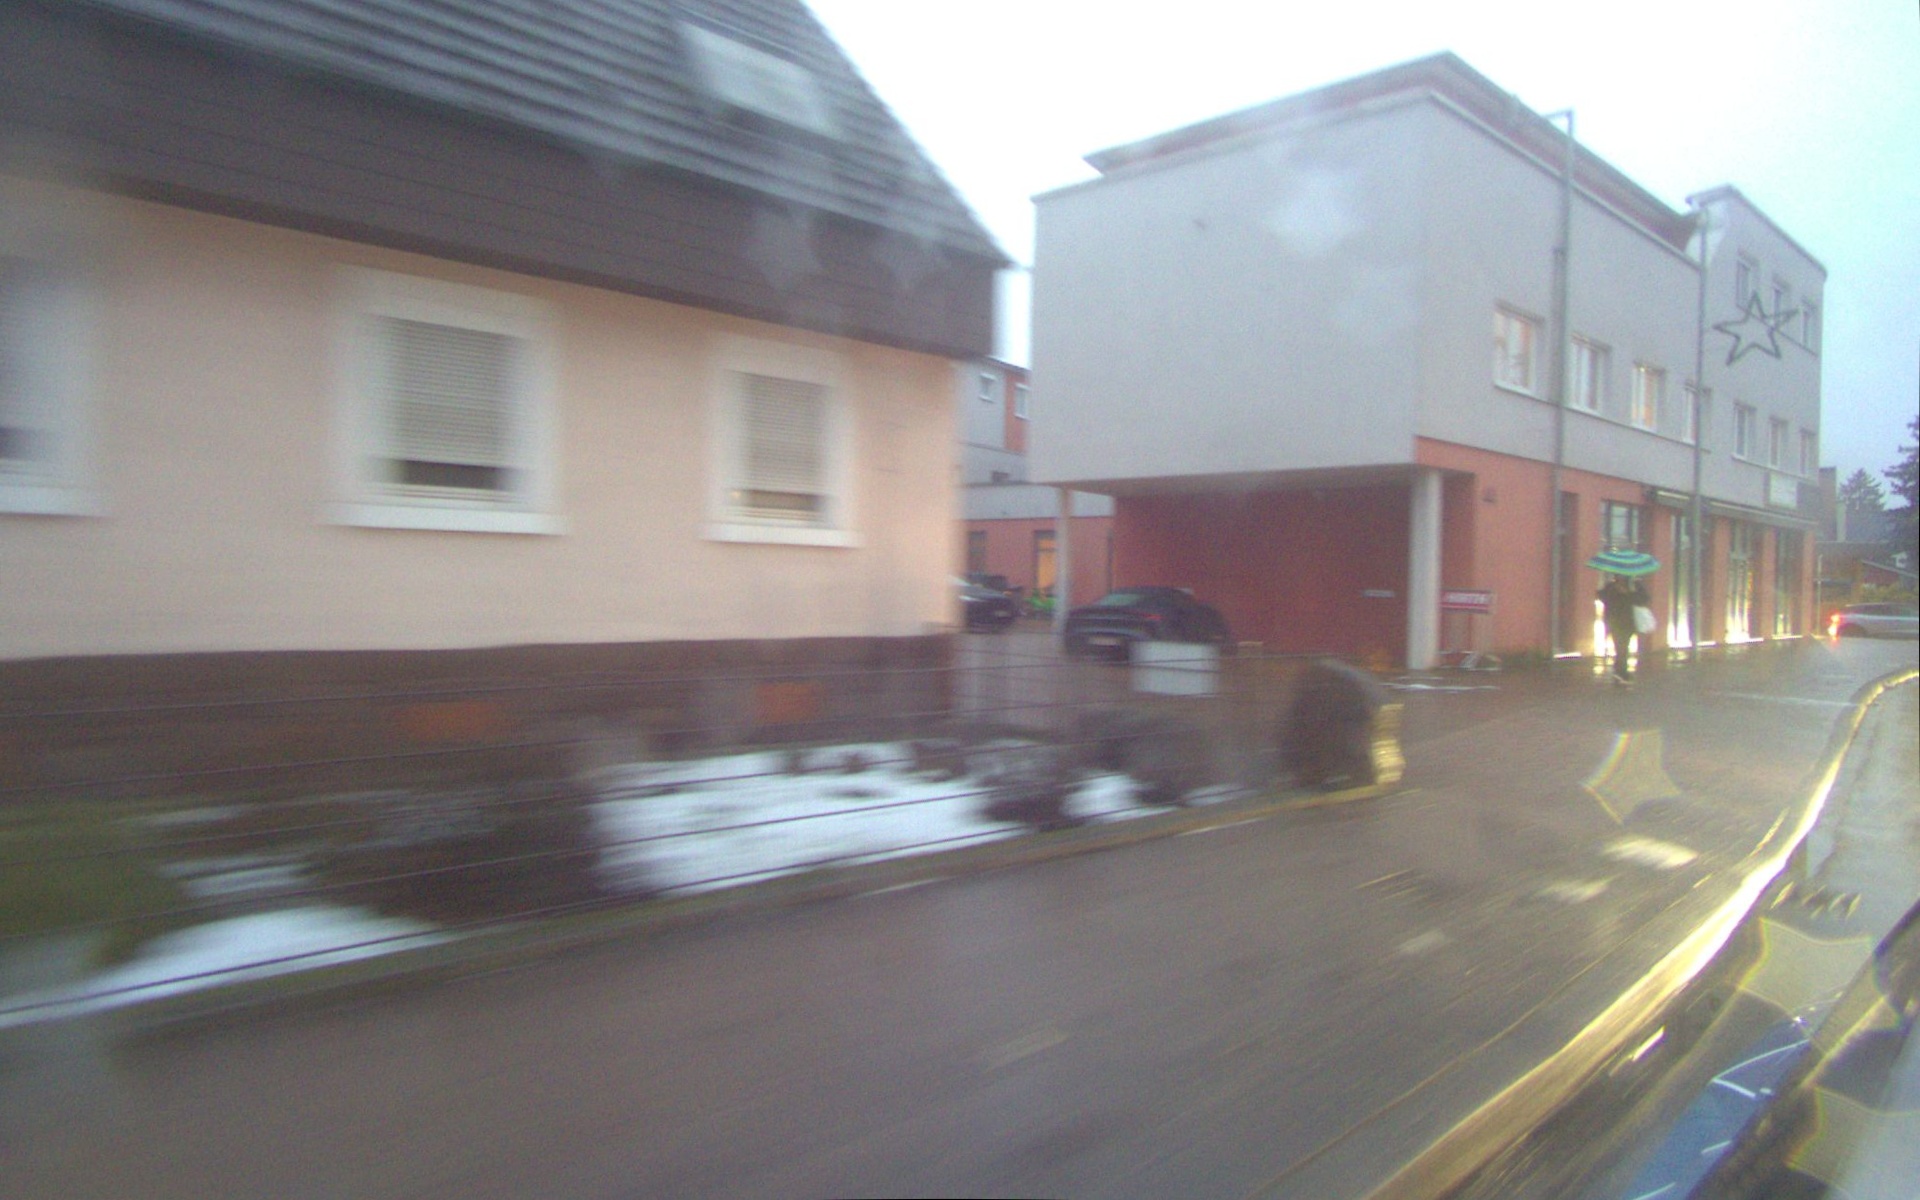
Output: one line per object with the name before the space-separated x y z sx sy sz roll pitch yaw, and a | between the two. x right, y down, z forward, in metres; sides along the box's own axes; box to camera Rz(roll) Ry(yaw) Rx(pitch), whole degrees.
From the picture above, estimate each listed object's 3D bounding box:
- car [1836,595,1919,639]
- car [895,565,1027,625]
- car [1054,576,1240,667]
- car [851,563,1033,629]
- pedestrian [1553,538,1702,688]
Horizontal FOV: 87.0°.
car | 32.562 0.578 34.259 1.766 1.460 4.177 2 -2 -40
car | -0.011 -0.198 29.878 3.741 1.588 1.688 3 2 42
car | 3.361 0.271 17.583 1.866 1.274 4.126 2 3 31
car | -0.551 -0.164 26.129 4.708 1.483 1.844 3 2 42
pedestrian | 9.013 0.137 13.673 1.279 1.888 1.258 0 3 -37
